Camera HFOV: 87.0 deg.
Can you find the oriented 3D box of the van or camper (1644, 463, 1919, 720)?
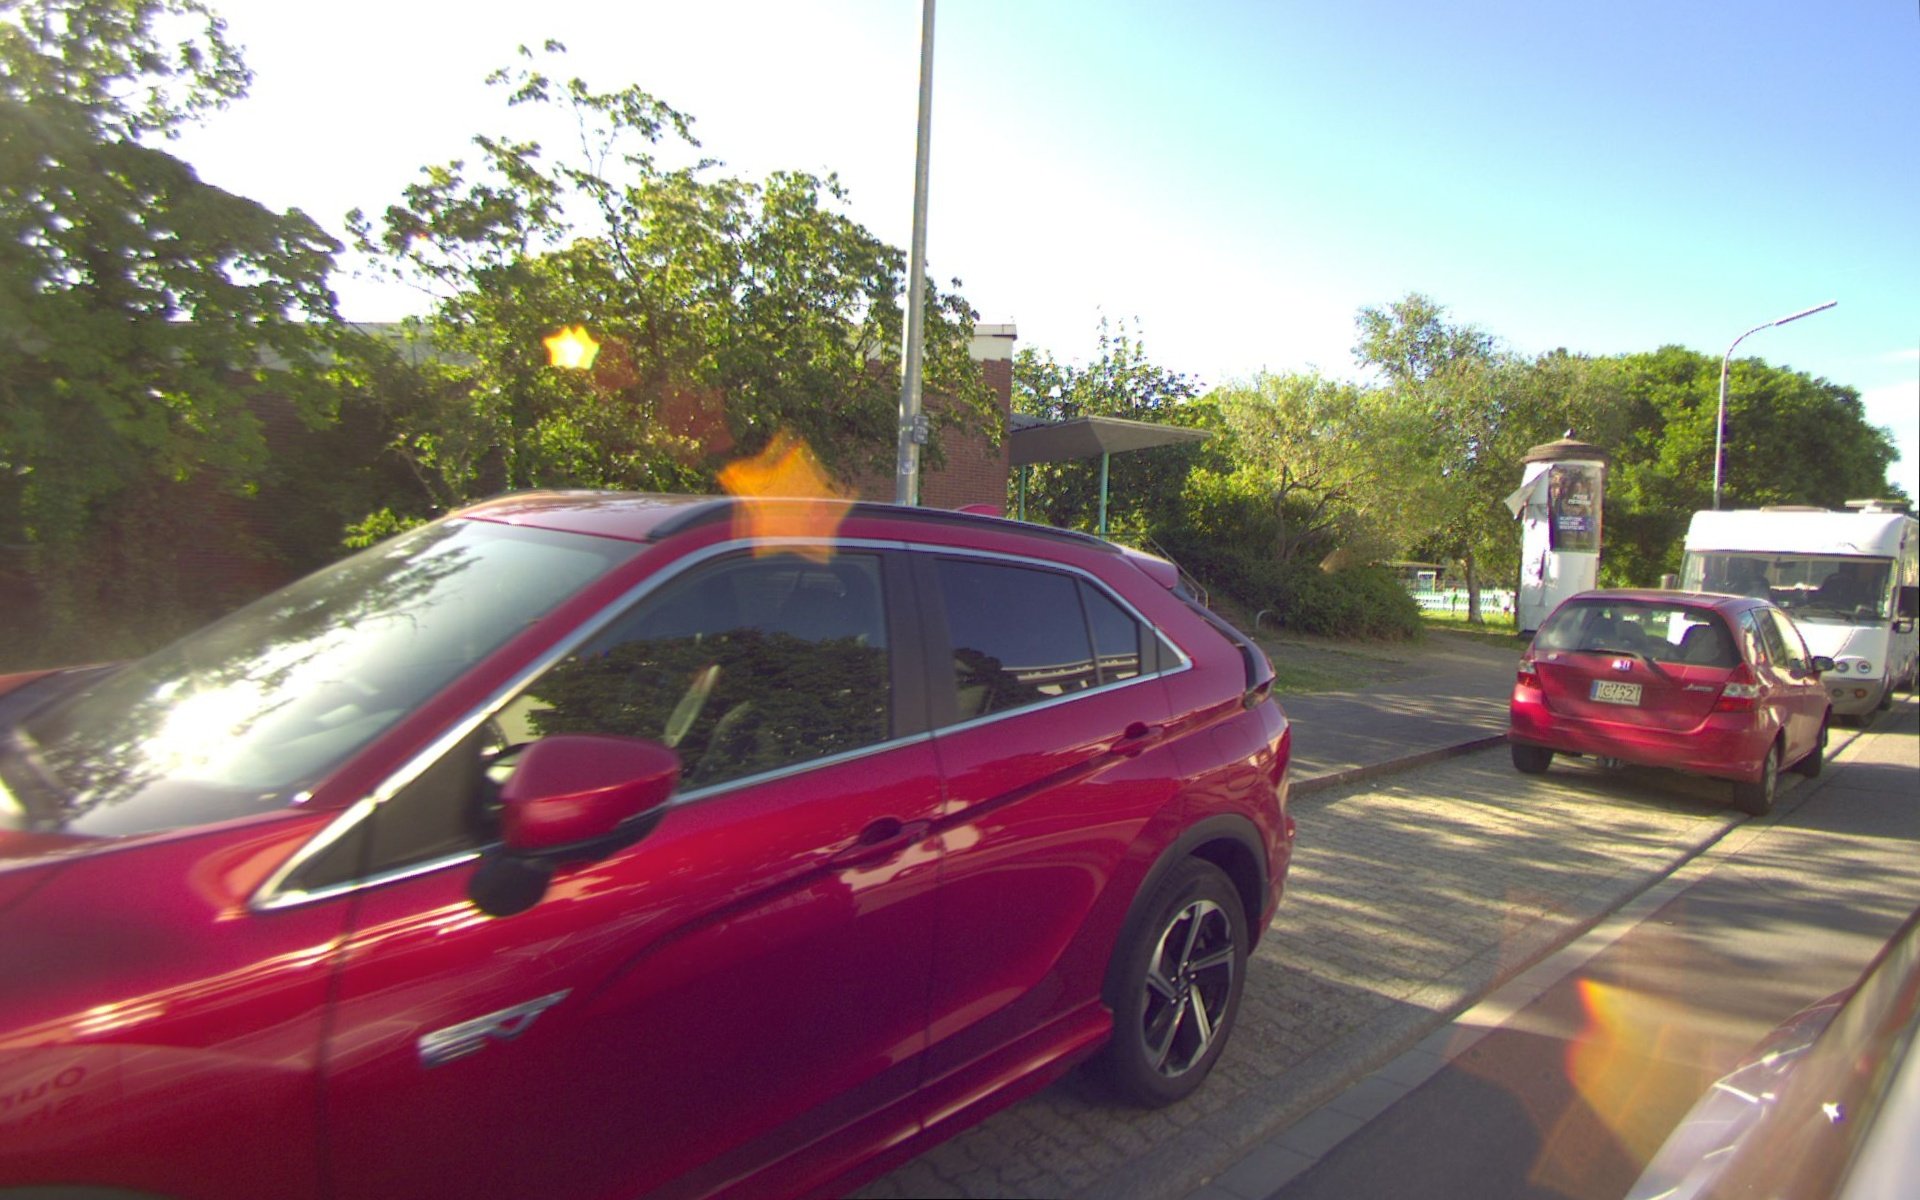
[{"bbox_3d":[12.251,-0.158,14.568,6.737,2.879,2.500,0,3,-44],"label":"van or camper"}]

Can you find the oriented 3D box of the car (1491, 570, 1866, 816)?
[{"bbox_3d":[6.087,0.579,8.399,3.932,1.492,1.694,0,3,-43],"label":"car"}]

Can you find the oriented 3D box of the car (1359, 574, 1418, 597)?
[{"bbox_3d":[34.566,-1.188,81.727,3.868,1.631,1.968,4,3,45],"label":"car"}]

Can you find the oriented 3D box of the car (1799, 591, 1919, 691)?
[{"bbox_3d":[17.433,0.713,19.246,4.356,1.542,1.723,0,6,-45],"label":"car"}]

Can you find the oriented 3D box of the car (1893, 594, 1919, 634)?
[{"bbox_3d":[42.540,0.642,44.527,1.994,1.660,4.468,6,4,41],"label":"car"}]

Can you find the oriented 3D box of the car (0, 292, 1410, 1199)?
[{"bbox_3d":[-0.774,0.455,2.493,4.569,1.699,1.777,0,6,-45],"label":"car"}]

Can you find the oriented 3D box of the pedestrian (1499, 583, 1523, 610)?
[{"bbox_3d":[23.833,-0.142,43.752,0.701,1.102,0.712,5,3,41],"label":"pedestrian"}]

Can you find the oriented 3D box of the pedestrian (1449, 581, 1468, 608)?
[{"bbox_3d":[21.483,-0.249,43.629,0.628,1.102,0.503,4,2,25],"label":"pedestrian"}]

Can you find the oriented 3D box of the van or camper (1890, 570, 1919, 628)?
[{"bbox_3d":[47.173,0.012,49.355,2.354,2.626,6.324,8,6,43],"label":"van or camper"}]
